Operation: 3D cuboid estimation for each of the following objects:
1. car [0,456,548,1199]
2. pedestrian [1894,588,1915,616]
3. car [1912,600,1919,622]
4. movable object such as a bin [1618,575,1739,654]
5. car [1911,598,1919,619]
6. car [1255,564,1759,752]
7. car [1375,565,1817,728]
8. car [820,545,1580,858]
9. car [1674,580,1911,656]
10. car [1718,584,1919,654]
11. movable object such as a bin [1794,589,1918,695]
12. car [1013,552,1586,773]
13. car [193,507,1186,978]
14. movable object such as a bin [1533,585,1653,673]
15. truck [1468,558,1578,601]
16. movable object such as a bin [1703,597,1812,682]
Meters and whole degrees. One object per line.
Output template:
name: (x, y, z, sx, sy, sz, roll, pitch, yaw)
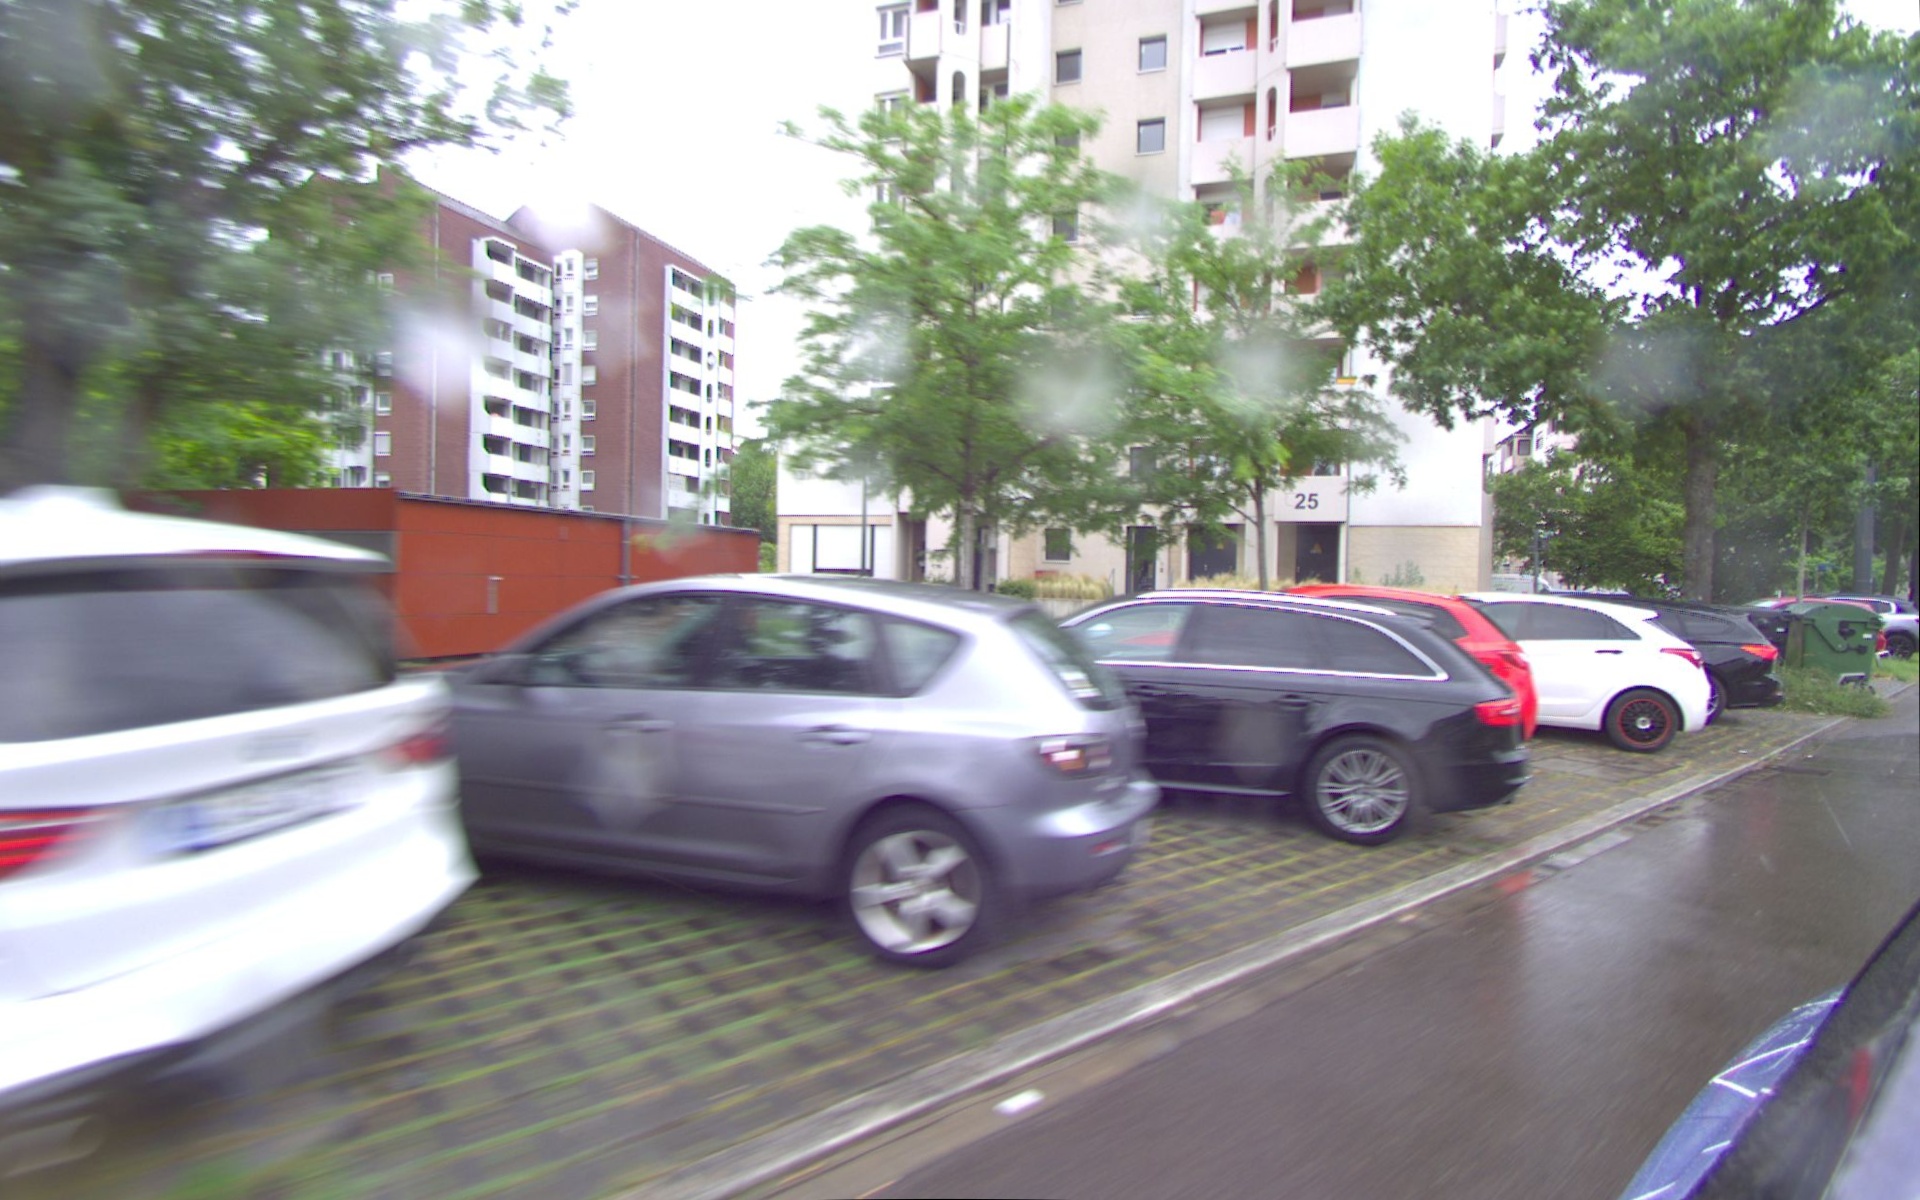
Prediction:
car: (-3.728, 0.416, 2.922, 4.391, 1.692, 1.807, 4, 2, 11)
pedestrian: (68.386, 0.125, 73.275, 1.140, 2.039, 1.013, -1, 1, -43)
car: (62.951, 0.717, 63.353, 4.423, 1.344, 1.987, 0, 1, 20)
movable object such as a bin: (12.056, 0.223, 17.030, 1.220, 1.267, 1.185, 0, 1, 5)
car: (65.085, 0.568, 65.682, 4.426, 1.344, 1.986, 0, 1, 22)
car: (5.549, 0.502, 10.965, 4.399, 1.483, 1.811, 4, 2, 16)
car: (7.827, 0.475, 12.993, 4.404, 1.560, 1.675, 5, 4, 19)
car: (1.433, 0.498, 6.930, 4.401, 1.445, 1.676, 4, 2, 17)
car: (20.082, 0.387, 24.608, 3.989, 1.507, 1.717, 4, 2, 14)
car: (22.527, 0.453, 26.401, 3.988, 1.706, 1.717, 1, 1, 15)
movable object such as a bin: (14.225, 0.629, 16.129, 1.152, 1.582, 1.362, 0, 1, 27)
car: (2.825, 0.439, 9.192, 4.393, 1.445, 1.804, 4, 2, 12)
car: (-1.220, 0.423, 4.968, 4.399, 1.427, 1.760, 4, 2, 16)
movable object such as a bin: (10.754, 0.459, 17.254, 1.344, 1.440, 1.184, 0, 1, 8)
truck: (33.299, -1.212, 59.921, 5.633, 2.468, 2.100, 1, 1, 32)
movable object such as a bin: (13.208, 0.626, 16.802, 0.981, 1.329, 1.183, 0, 1, 12)
